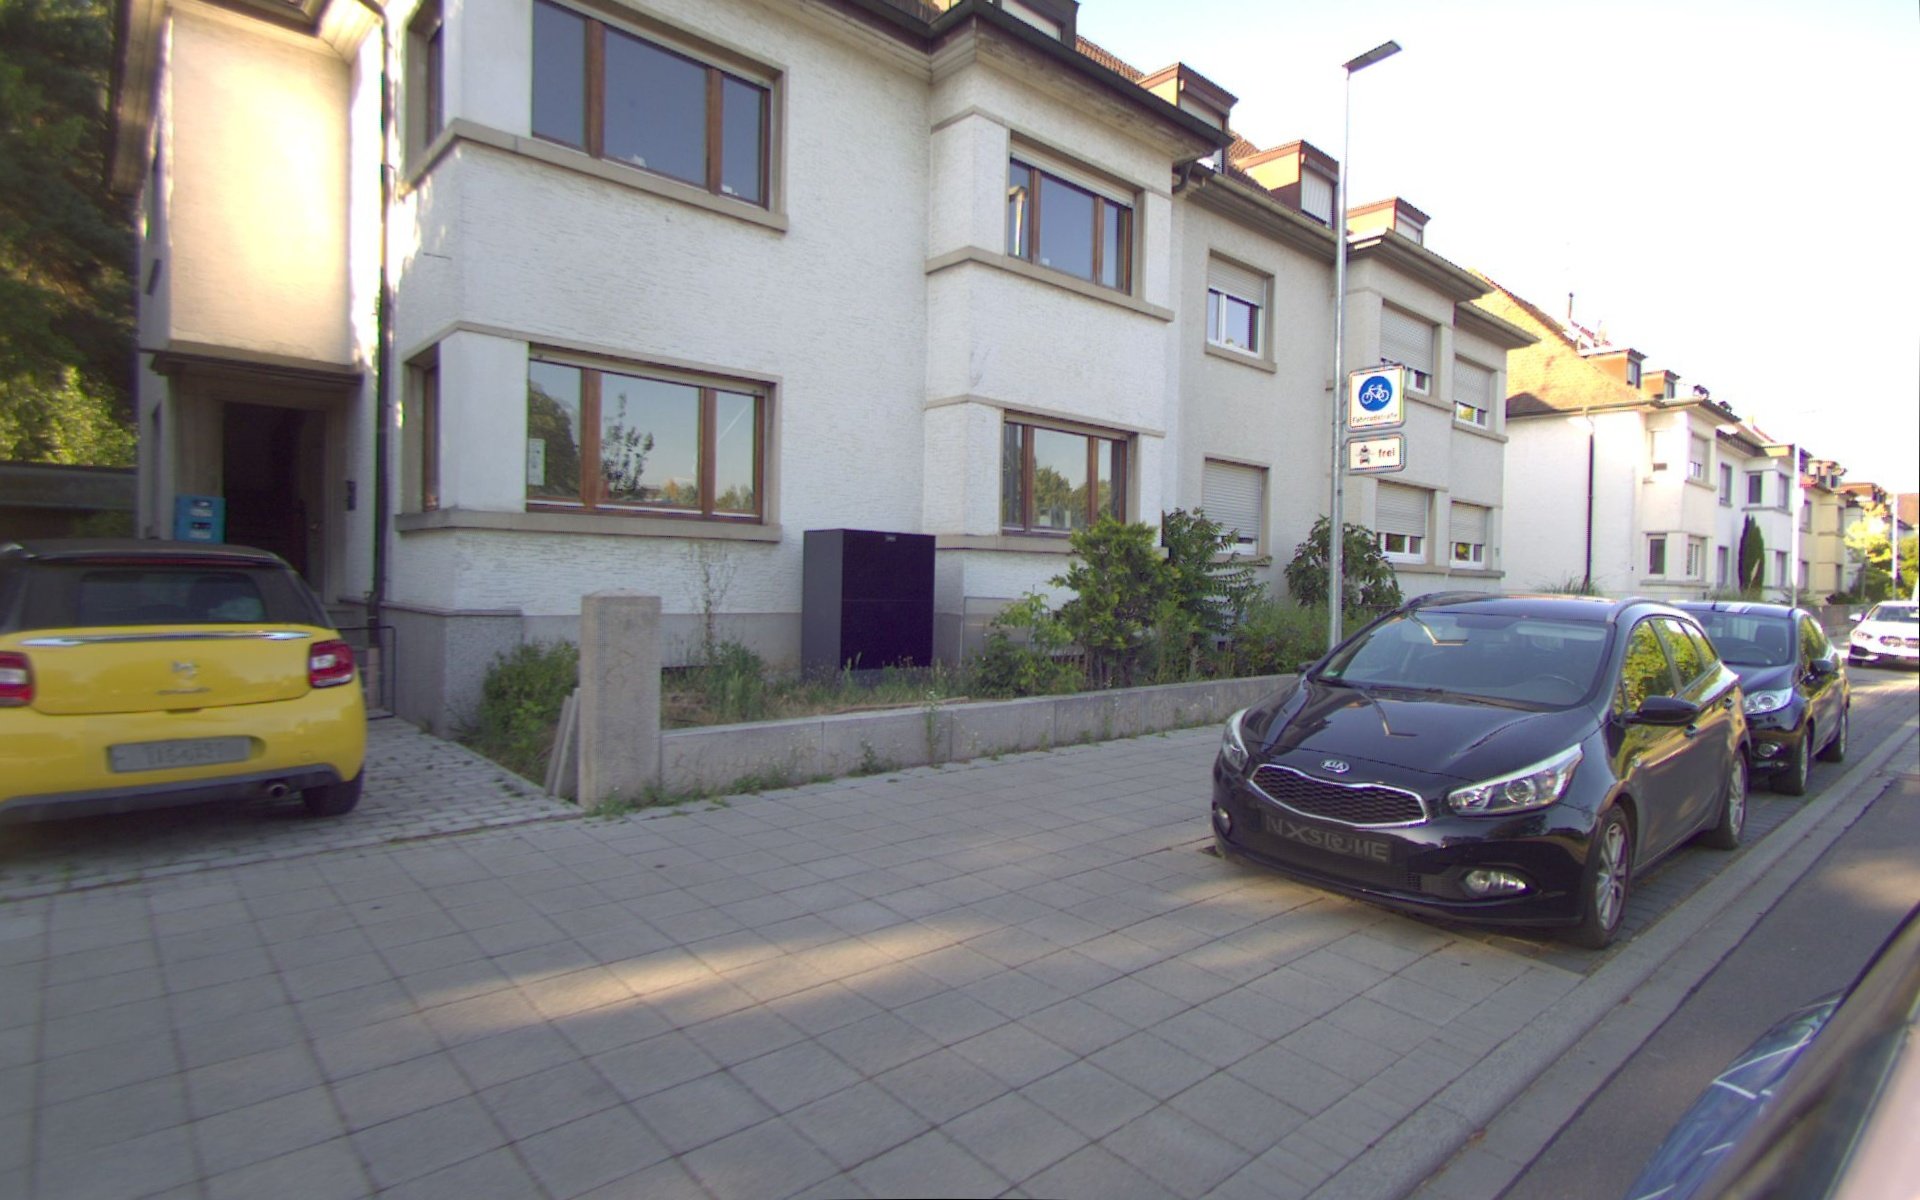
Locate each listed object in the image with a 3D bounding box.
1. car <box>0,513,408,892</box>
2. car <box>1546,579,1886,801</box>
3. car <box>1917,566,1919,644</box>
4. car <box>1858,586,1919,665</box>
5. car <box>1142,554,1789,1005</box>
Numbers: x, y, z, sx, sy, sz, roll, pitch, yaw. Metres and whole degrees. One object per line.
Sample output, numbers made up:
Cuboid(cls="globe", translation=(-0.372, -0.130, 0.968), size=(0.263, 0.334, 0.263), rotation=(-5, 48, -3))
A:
Cuboid(cls="car", translation=(-4.678, 0.317, 5.754), size=(3.636, 1.514, 1.752), rotation=(4, 3, 45))
Cuboid(cls="car", translation=(6.909, 0.604, 9.091), size=(3.916, 1.489, 1.721), rotation=(-1, 4, -43))
Cuboid(cls="car", translation=(30.092, 0.016, 30.054), size=(5.417, 2.549, 2.131), rotation=(0, 2, -44))
Cuboid(cls="car", translation=(20.715, 0.521, 21.666), size=(4.162, 1.525, 1.786), rotation=(-1, 4, -43))
Cuboid(cls="car", translation=(2.989, 0.566, 5.497), size=(4.183, 1.492, 1.749), rotation=(-1, 3, -43))
